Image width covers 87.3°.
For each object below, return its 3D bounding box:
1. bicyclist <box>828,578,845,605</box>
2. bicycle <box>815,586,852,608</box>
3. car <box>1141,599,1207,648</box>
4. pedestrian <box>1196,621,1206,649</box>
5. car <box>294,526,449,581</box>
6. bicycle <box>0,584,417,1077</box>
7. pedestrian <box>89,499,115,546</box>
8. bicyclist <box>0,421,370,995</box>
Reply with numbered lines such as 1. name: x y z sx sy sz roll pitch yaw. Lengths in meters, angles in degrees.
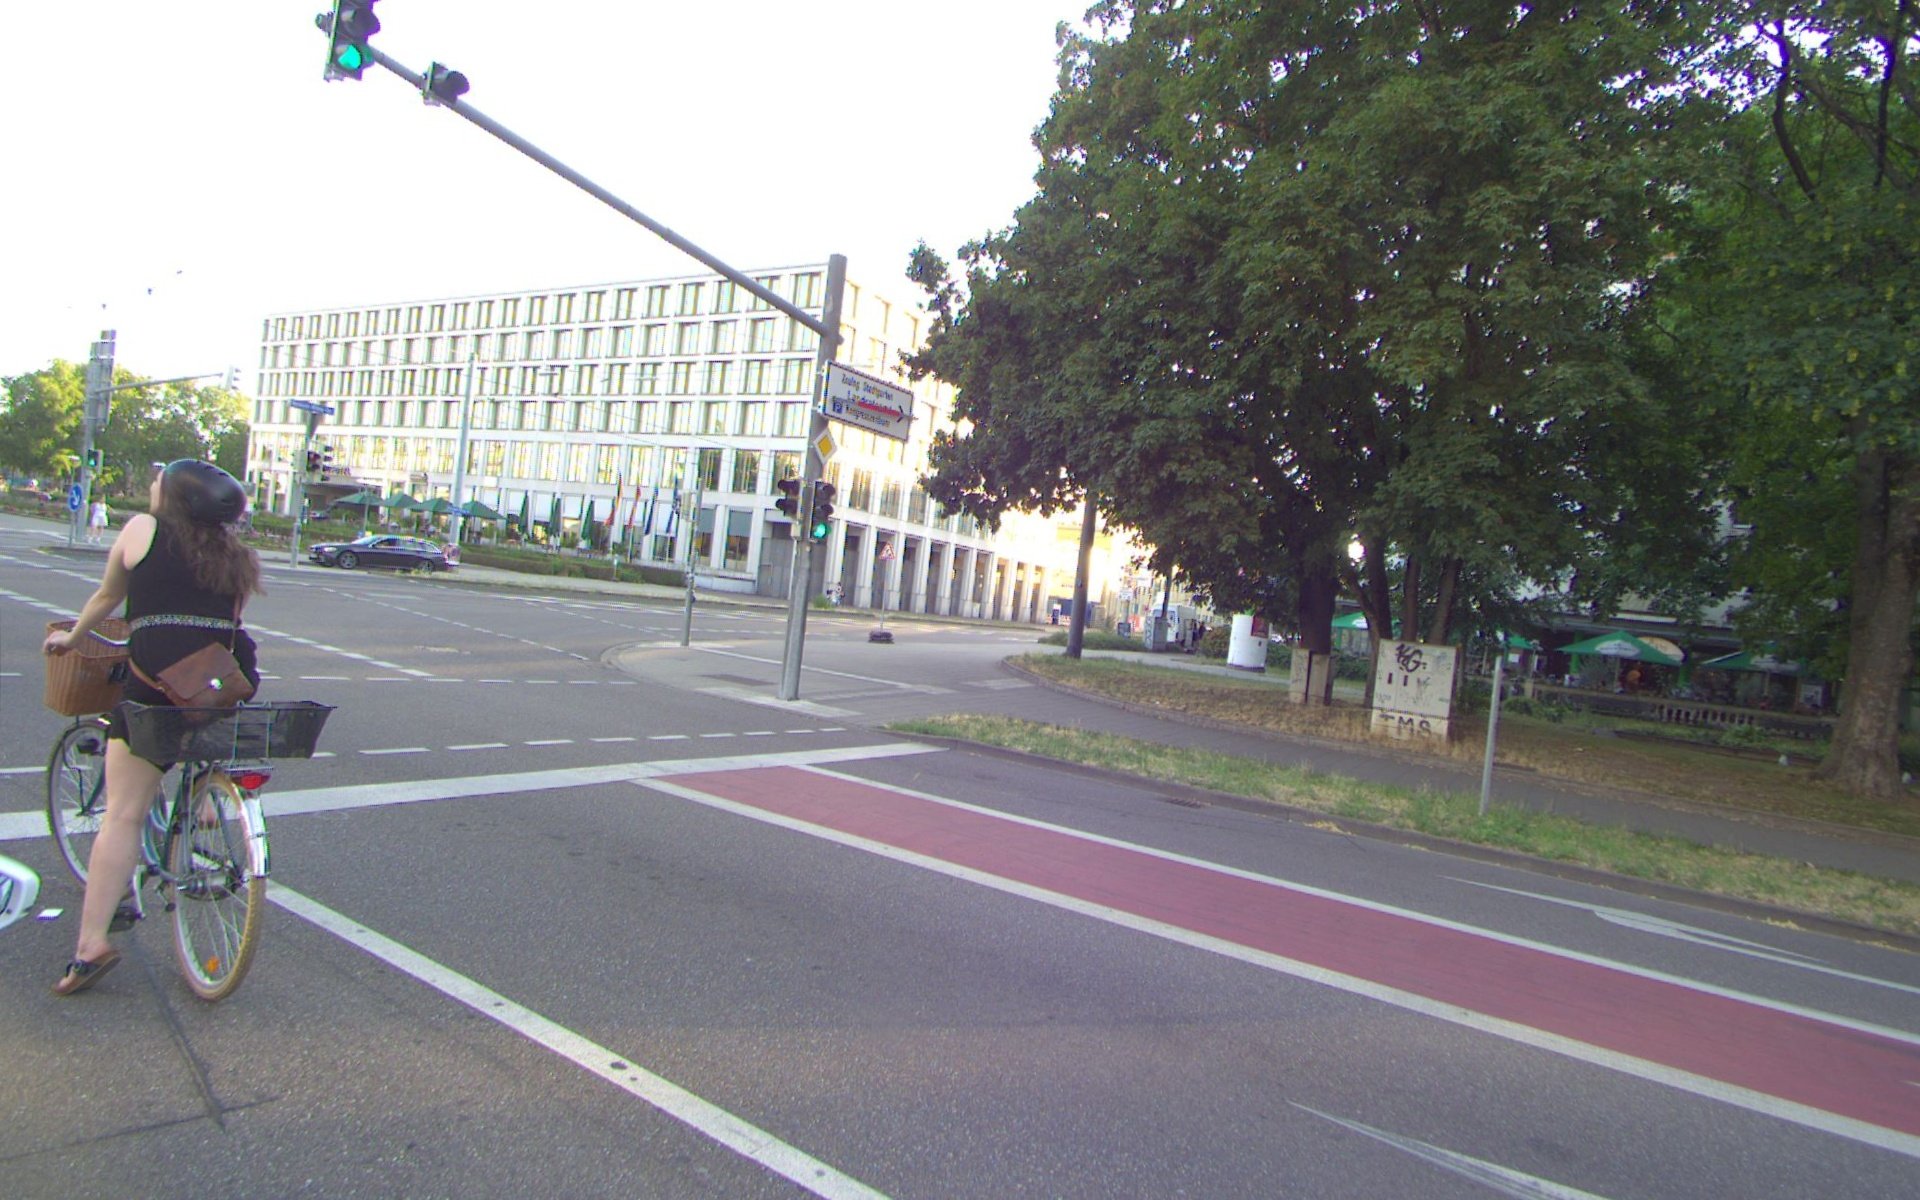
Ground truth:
1. bicyclist: -7.578 -0.495 61.683 0.567 1.556 0.708 7 1 29
2. bicycle: -7.716 -0.159 61.513 0.592 1.120 2.775 7 0 29
3. car: 11.849 1.334 55.456 1.967 2.318 4.605 6 0 31
4. pedestrian: 13.351 1.947 55.720 0.302 1.525 0.336 7 -1 31
5. car: -22.990 -1.795 39.481 1.968 1.534 4.826 7 0 34
6. bicycle: -2.778 0.623 3.442 1.971 1.146 0.612 7 -1 32
7. pedestrian: -29.842 -2.678 35.002 0.402 1.559 0.491 7 2 31
8. bicyclist: -2.664 0.291 3.402 0.982 1.655 0.600 7 0 32
